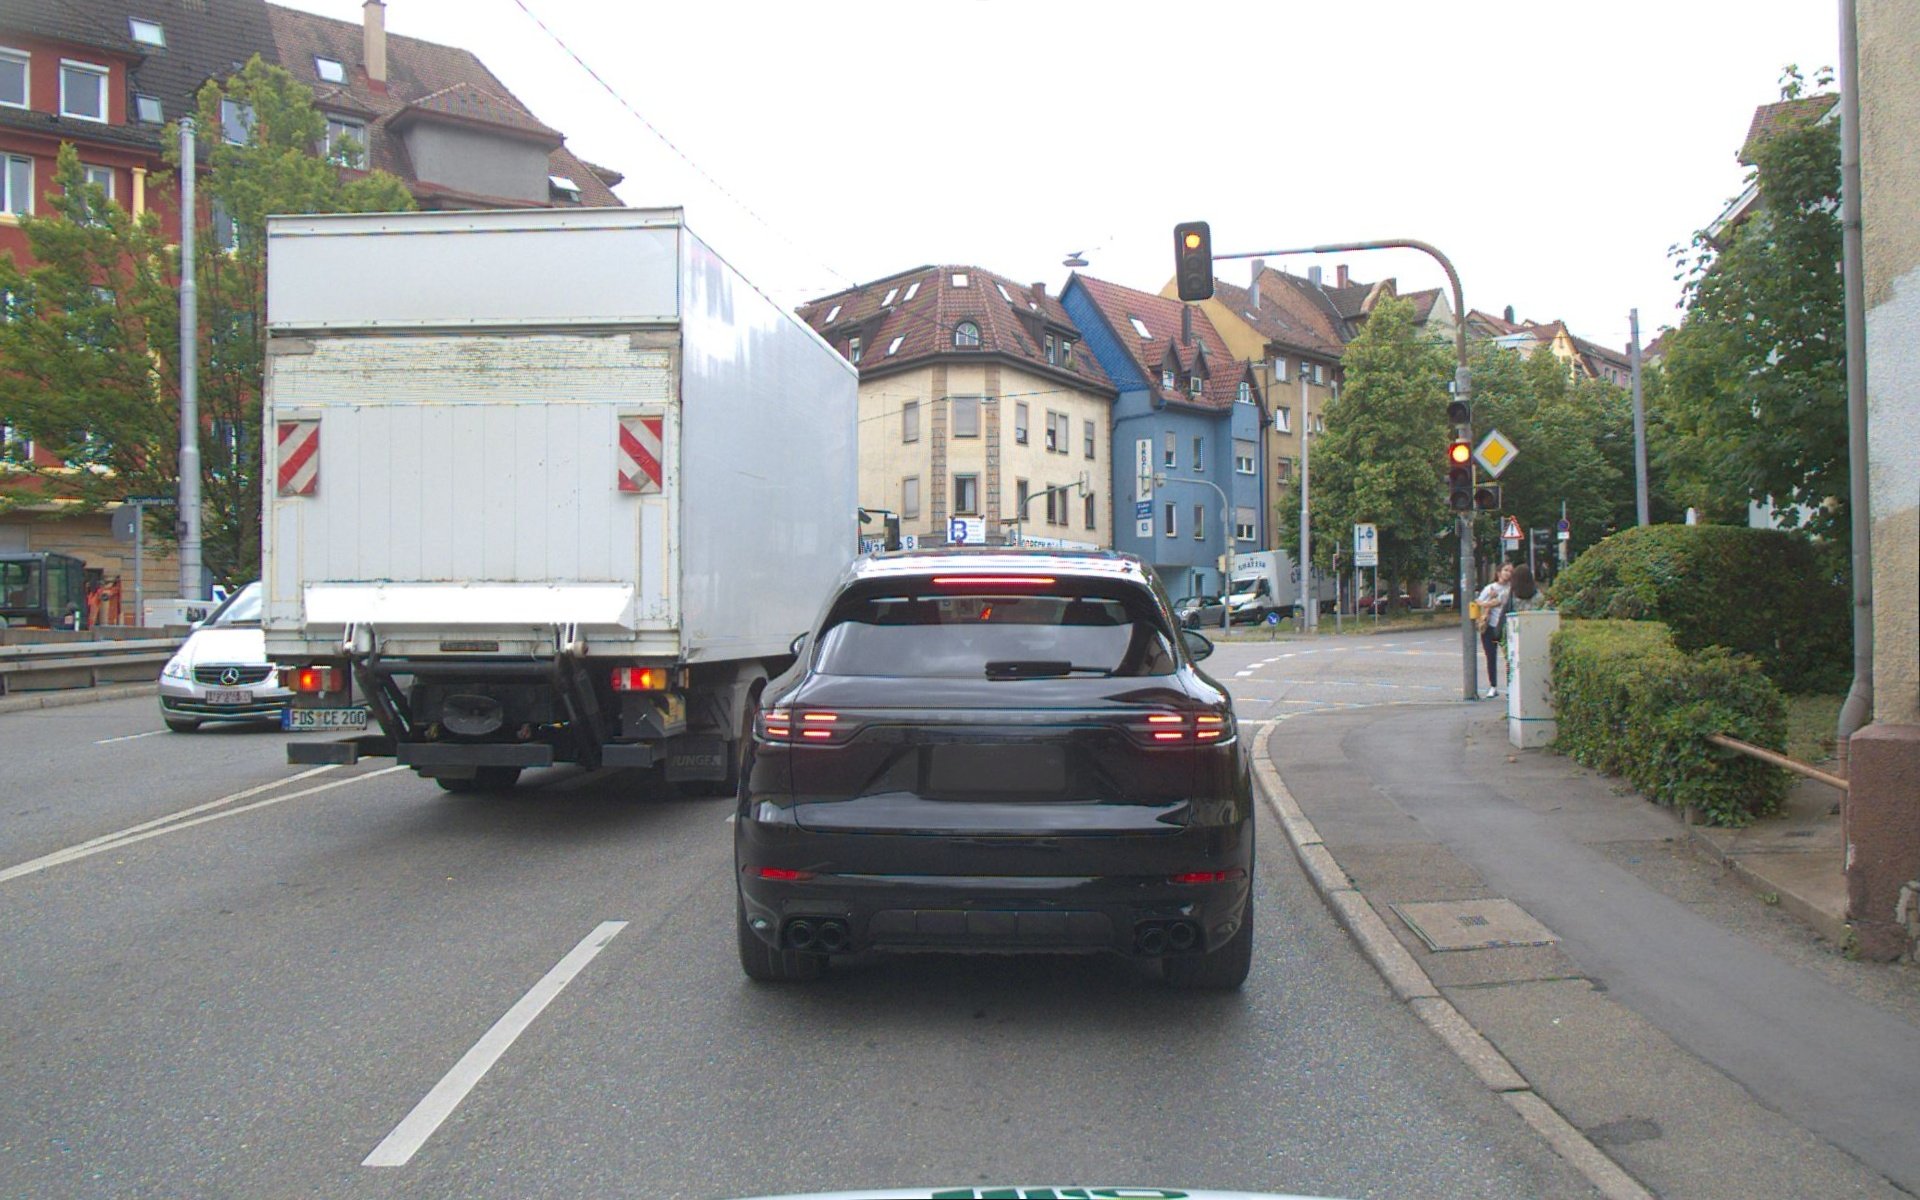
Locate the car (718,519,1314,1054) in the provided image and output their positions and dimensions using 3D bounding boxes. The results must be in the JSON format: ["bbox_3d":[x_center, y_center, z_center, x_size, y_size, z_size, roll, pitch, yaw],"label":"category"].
[{"bbox_3d":[0.073,0.573,7.363,1.939,1.713,3.997,0,1,-4],"label":"car"}]

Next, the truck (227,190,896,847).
[{"bbox_3d":[-2.419,-0.505,13.300,2.710,3.637,8.070,0,1,6],"label":"truck"}]

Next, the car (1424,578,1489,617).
[{"bbox_3d":[27.988,-0.117,93.107,1.965,2.049,3.975,2,0,42],"label":"car"}]

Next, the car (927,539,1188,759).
[{"bbox_3d":[1.031,0.385,15.065,1.951,1.713,4.003,0,0,10],"label":"car"}]

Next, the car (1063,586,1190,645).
[{"bbox_3d":[5.153,0.465,51.590,1.698,1.691,3.946,2,0,-38],"label":"car"}]

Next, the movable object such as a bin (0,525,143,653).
[{"bbox_3d":[-14.210,-0.179,25.629,1.870,1.802,3.986,2,0,-14],"label":"movable object such as a bin"}]

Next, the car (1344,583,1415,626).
[{"bbox_3d":[21.960,0.246,86.491,1.965,2.049,3.975,2,0,42],"label":"car"}]

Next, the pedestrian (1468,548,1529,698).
[{"bbox_3d":[6.776,0.286,20.841,0.517,1.851,0.591,2,-1,-1],"label":"pedestrian"}]

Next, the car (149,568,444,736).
[{"bbox_3d":[-7.185,0.519,18.362,1.674,1.646,3.999,0,0,-1],"label":"car"}]

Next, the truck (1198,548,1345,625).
[{"bbox_3d":[14.918,-0.597,78.629,2.830,3.398,8.744,2,0,41],"label":"truck"}]

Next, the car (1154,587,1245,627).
[{"bbox_3d":[10.492,0.309,72.371,3.968,1.713,1.968,0,0,-43],"label":"car"}]

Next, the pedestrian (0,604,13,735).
[{"bbox_3d":[-13.286,0.938,22.558,0.537,1.760,0.586,2,-1,-35],"label":"pedestrian"}]
